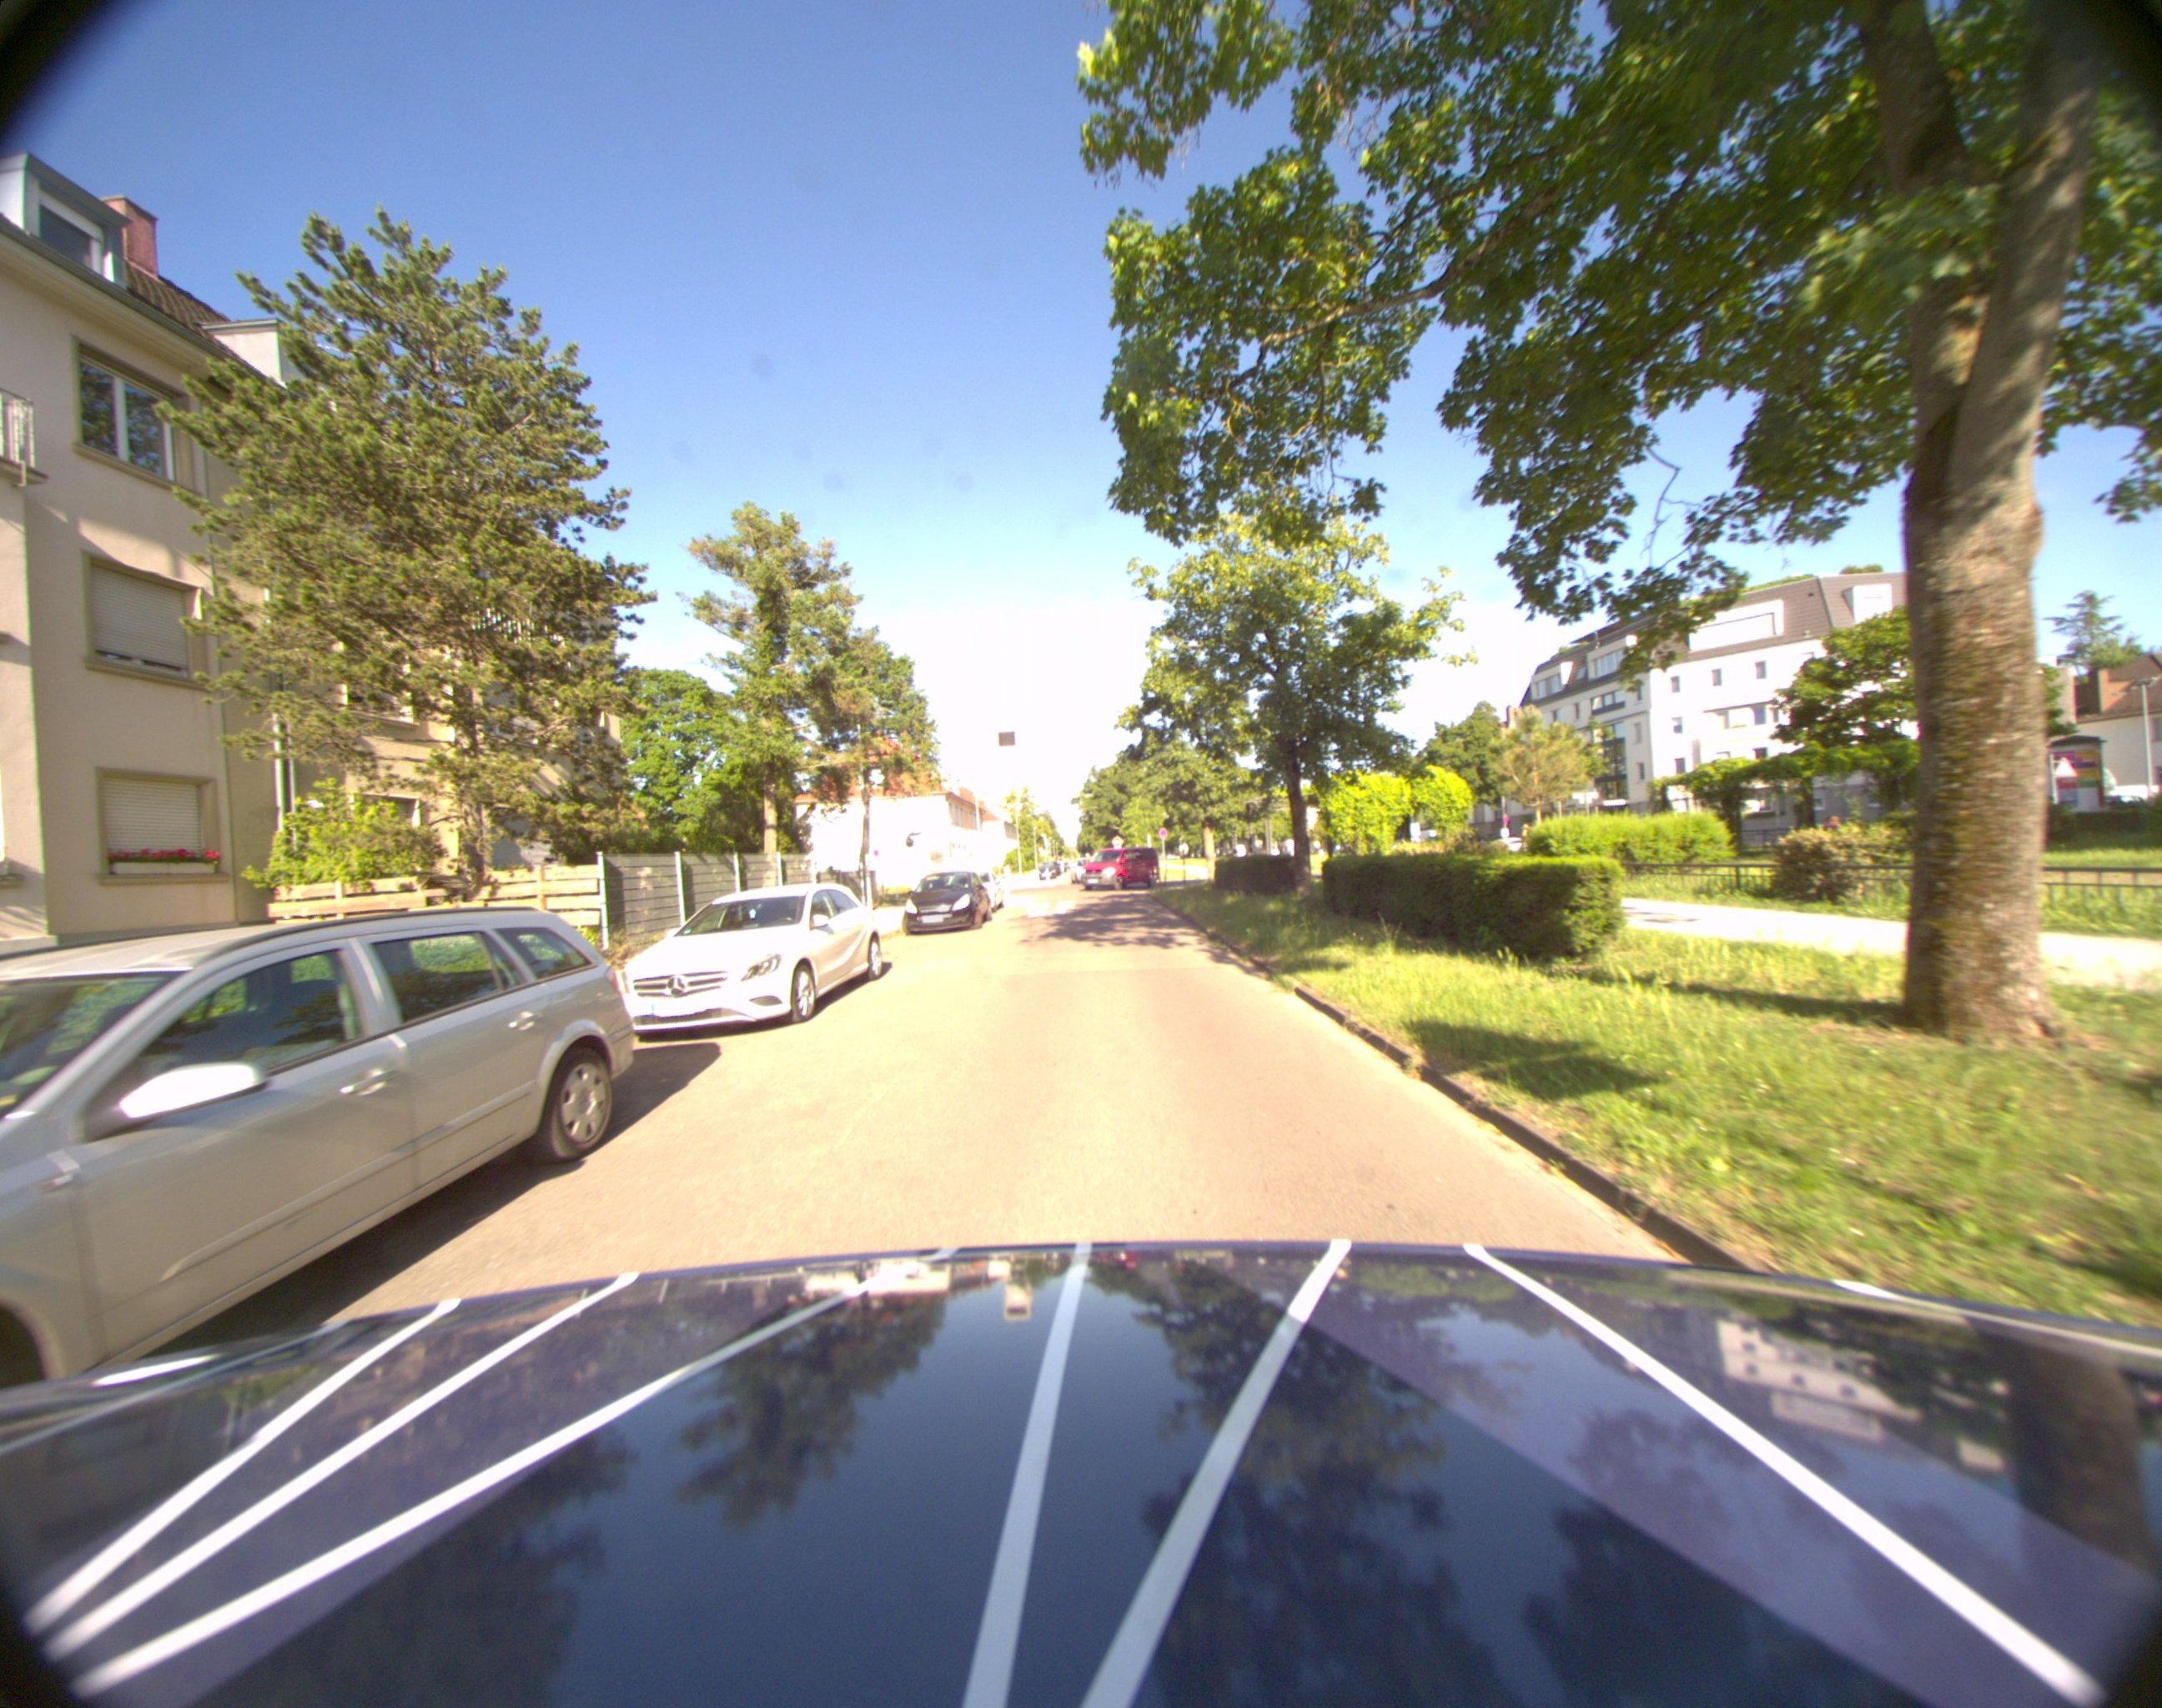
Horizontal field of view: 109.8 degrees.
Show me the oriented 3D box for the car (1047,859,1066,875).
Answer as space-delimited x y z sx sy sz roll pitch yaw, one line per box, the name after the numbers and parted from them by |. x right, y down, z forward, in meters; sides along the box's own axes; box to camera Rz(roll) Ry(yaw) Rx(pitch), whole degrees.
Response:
-2.542 1.392 79.737 1.799 1.529 4.001 -4 -1 0 | car

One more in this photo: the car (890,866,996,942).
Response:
-3.365 1.172 19.297 1.799 1.501 3.994 -5 0 1 | car

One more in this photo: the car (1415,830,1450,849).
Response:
40.017 -1.600 86.621 1.941 2.017 4.406 -3 0 2 | car

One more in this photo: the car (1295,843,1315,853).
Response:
34.375 -0.939 116.861 1.799 1.501 4.000 -3 0 0 | car

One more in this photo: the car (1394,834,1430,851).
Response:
34.625 -1.207 79.608 2.057 1.683 4.406 -3 0 3 | car

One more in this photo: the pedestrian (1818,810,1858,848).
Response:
25.630 -0.834 25.726 0.649 1.231 0.650 -4 1 6 | pedestrian

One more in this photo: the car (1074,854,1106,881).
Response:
0.544 0.847 46.980 1.799 1.524 4.001 -4 -1 0 | car

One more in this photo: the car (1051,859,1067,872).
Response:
-2.867 1.531 99.121 1.799 1.529 4.001 -4 -1 0 | car

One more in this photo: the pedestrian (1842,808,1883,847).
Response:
26.376 -0.888 25.646 0.649 1.231 0.650 -4 1 6 | pedestrian

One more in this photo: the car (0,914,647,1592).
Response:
-3.638 1.191 2.759 1.664 1.456 4.410 -5 0 -3 | car

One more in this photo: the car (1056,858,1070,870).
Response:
-2.642 1.468 110.650 1.799 1.529 4.001 -4 -1 0 | car

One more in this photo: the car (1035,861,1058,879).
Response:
-3.059 1.462 68.853 1.799 1.529 4.001 -4 -1 0 | car

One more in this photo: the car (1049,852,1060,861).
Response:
-4.602 0.439 132.153 1.799 1.529 4.001 -4 -1 0 | car

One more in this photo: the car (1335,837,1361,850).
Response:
34.372 -1.332 97.924 1.799 1.603 4.405 -3 0 0 | car

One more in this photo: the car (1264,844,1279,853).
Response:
34.688 -1.019 138.548 1.799 1.501 4.000 -3 0 0 | car

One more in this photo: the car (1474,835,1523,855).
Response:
34.096 -0.725 62.189 1.799 1.501 4.000 -3 0 0 | car

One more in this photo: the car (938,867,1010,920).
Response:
-3.479 1.251 25.461 1.676 1.414 4.134 -5 0 1 | car

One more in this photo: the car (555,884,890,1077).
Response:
-3.800 1.238 9.062 1.799 1.412 4.288 -5 0 1 | car

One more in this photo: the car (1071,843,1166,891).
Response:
1.860 0.580 36.122 2.088 2.001 4.852 -2 1 36 | car

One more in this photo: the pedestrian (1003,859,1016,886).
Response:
-4.456 1.151 47.472 0.650 1.658 0.649 -3 3 -11 | pedestrian

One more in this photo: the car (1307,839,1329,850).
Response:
34.035 -1.367 109.139 1.799 1.501 4.000 -3 0 0 | car
